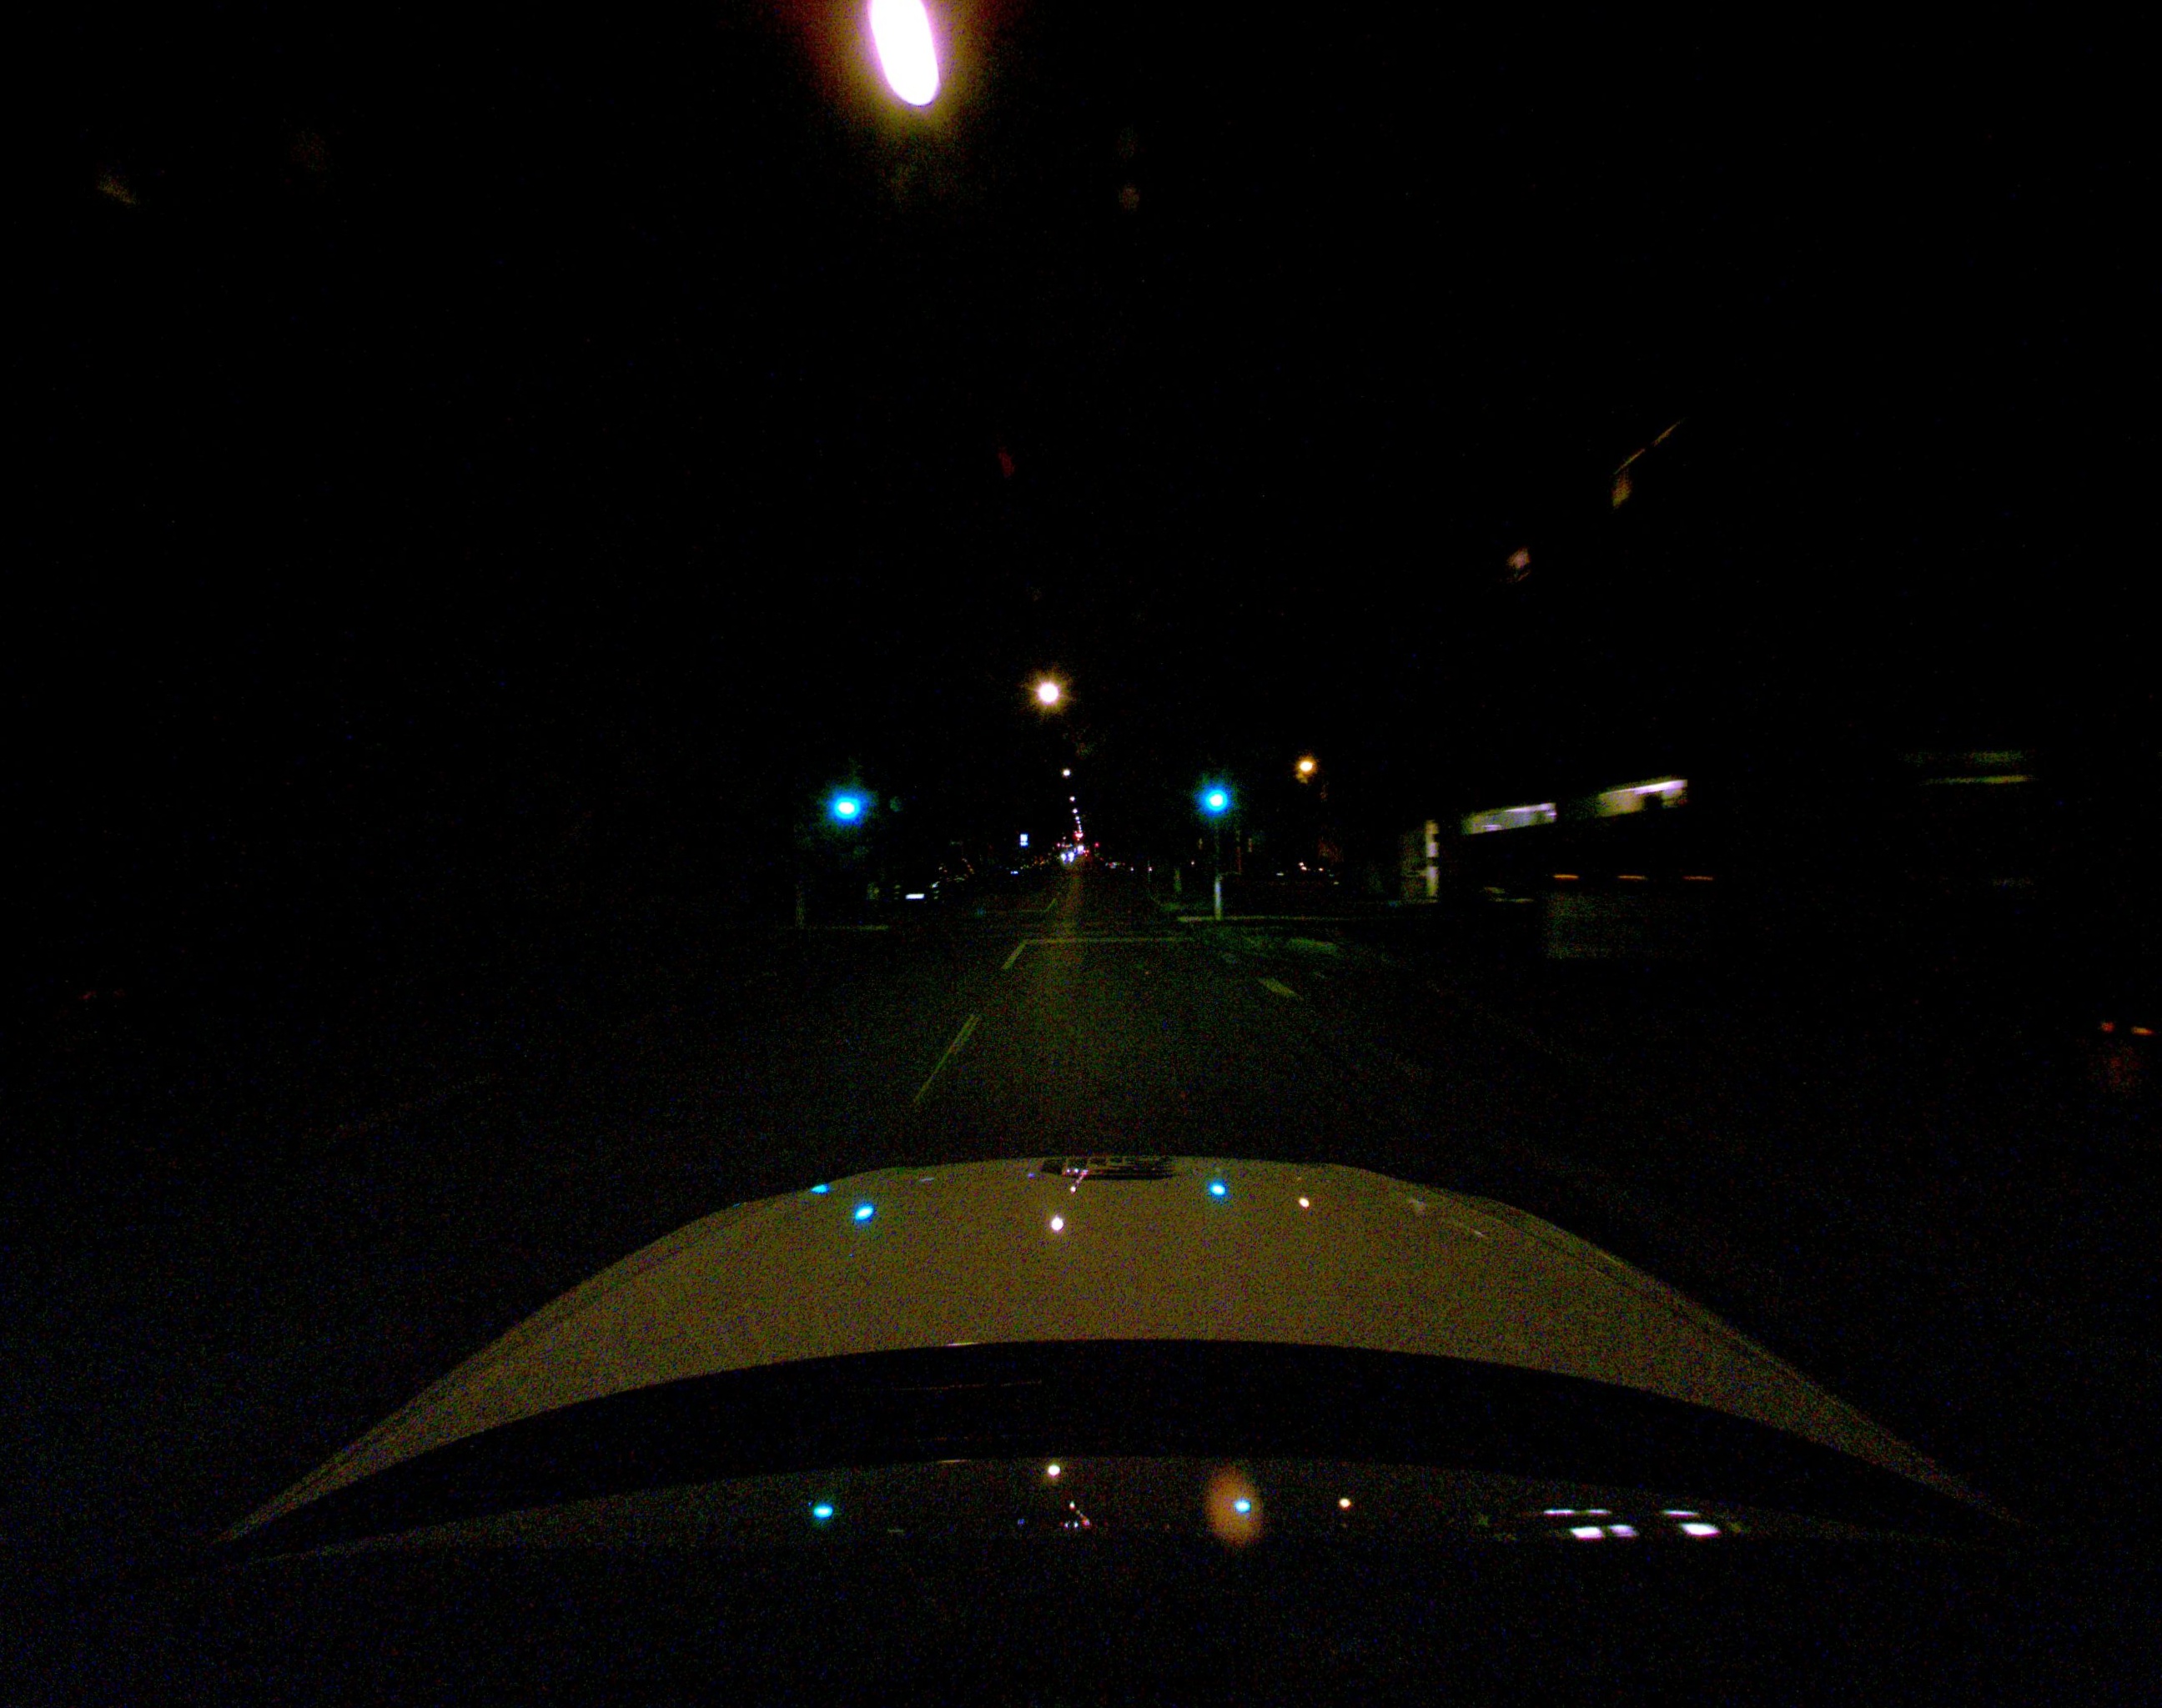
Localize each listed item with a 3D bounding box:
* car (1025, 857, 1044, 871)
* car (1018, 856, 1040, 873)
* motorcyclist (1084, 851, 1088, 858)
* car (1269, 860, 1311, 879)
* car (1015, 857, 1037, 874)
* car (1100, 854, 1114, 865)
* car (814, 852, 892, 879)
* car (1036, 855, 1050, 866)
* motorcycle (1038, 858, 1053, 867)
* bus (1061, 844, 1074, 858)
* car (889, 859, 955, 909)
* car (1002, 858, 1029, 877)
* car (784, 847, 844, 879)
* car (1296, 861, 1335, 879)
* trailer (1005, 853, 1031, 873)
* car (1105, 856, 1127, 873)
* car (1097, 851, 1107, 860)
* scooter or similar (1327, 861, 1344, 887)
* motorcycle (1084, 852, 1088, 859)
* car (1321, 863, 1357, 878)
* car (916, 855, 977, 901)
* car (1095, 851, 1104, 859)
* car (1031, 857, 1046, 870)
[{"bbox_3d":[-5.010,1.065,88.794,1.858,1.491,4.279,0,-1,-1],"label":"car"},{"bbox_3d":[-5.098,0.974,80.257,1.829,1.619,4.545,0,0,1],"label":"car"},{"bbox_3d":[1.110,0.138,184.535,0.846,1.752,0.805,0,-1,0],"label":"motorcyclist"},{"bbox_3d":[16.187,1.202,62.935,1.779,1.417,3.862,0,-1,38],"label":"car"},{"bbox_3d":[-5.045,1.032,75.088,1.830,1.446,4.543,-1,0,-1],"label":"car"},{"bbox_3d":[3.706,0.787,116.435,1.757,1.476,4.080,-2,1,1],"label":"car"},{"bbox_3d":[-13.499,0.689,48.293,3.963,1.425,1.767,2,0,9],"label":"car"},{"bbox_3d":[-5.272,0.912,112.948,1.632,1.498,2.766,-1,-1,2],"label":"car"},{"bbox_3d":[-4.646,1.110,105.379,0.720,1.147,2.182,-1,1,-42],"label":"motorcycle"},{"bbox_3d":[-3.111,-0.708,191.765,2.828,3.177,10.498,0,0,0],"label":"bus"},{"bbox_3d":[-5.167,0.940,26.888,1.644,1.514,3.697,0,-1,-3],"label":"car"},{"bbox_3d":[-5.146,1.033,64.475,1.809,1.484,4.345,0,0,-1],"label":"car"},{"bbox_3d":[-14.064,0.491,43.182,1.751,1.538,4.185,2,-1,-1],"label":"car"},{"bbox_3d":[19.545,1.329,67.744,1.779,1.417,3.862,0,-1,38],"label":"car"},{"bbox_3d":[-5.330,0.757,69.133,1.630,1.640,3.443,0,-1,5],"label":"trailer"},{"bbox_3d":[3.308,0.996,77.909,1.839,1.417,4.644,-4,-1,0],"label":"car"},{"bbox_3d":[4.264,0.296,165.273,1.806,1.594,4.273,-2,1,0],"label":"car"},{"bbox_3d":[11.734,0.899,37.486,0.494,1.146,1.676,-3,-2,25],"label":"scooter or similar"},{"bbox_3d":[1.112,0.341,184.529,0.928,1.752,2.624,0,-1,0],"label":"motorcycle"},{"bbox_3d":[22.833,1.447,71.955,1.752,1.341,3.944,0,-1,38],"label":"car"},{"bbox_3d":[-5.250,0.875,32.311,1.844,1.650,4.666,0,0,-3],"label":"car"},{"bbox_3d":[4.118,0.254,178.608,1.862,1.526,4.149,-2,1,0],"label":"car"},{"bbox_3d":[-4.849,1.049,93.397,1.616,1.491,3.779,0,-1,-1],"label":"car"}]
